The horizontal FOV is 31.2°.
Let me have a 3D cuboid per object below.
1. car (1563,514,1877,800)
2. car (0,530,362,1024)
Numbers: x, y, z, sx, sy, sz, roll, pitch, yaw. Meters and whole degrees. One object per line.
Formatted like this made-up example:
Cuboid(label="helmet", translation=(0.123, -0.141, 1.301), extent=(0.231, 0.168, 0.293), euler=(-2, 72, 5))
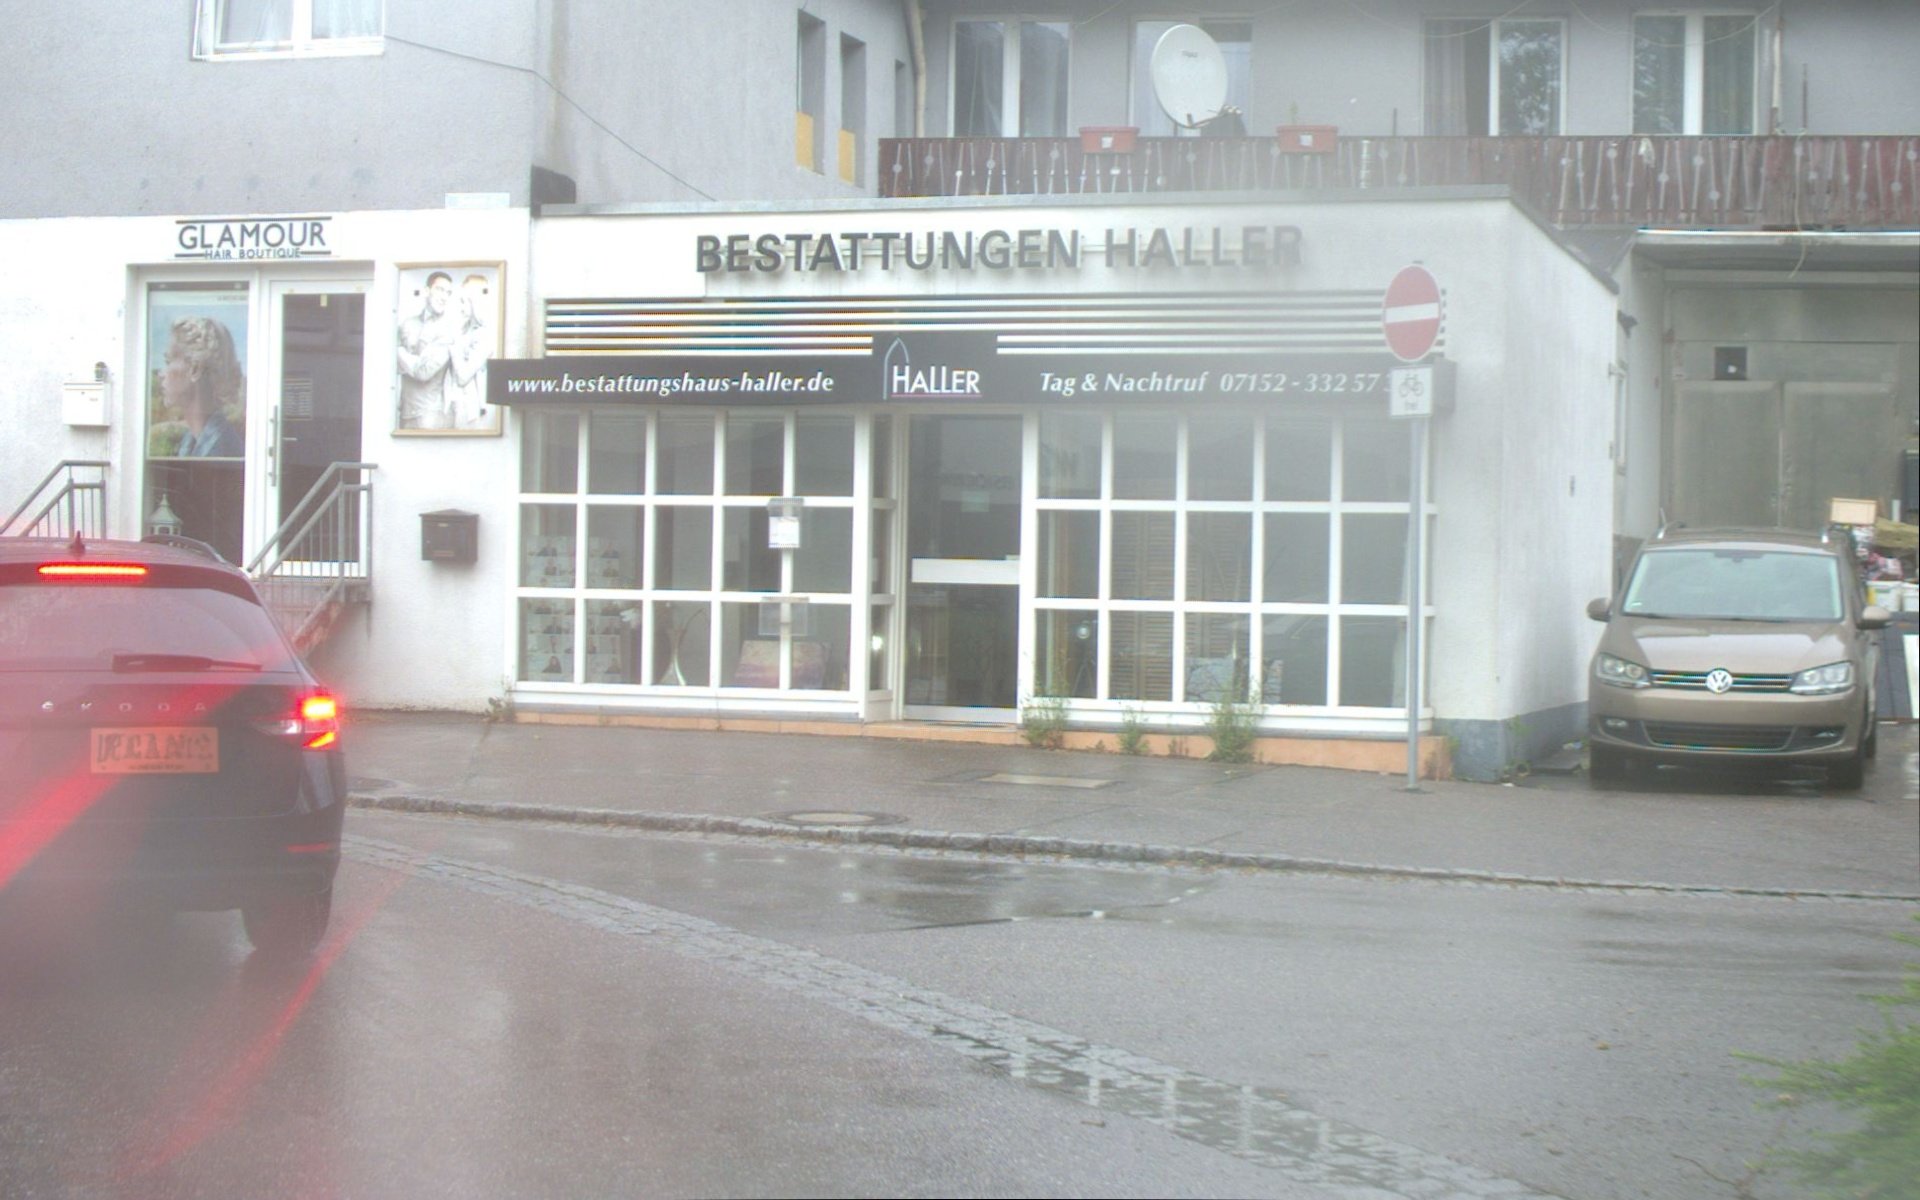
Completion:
Cuboid(label="car", translation=(5.391, 0.299, 24.218), extent=(1.925, 1.722, 4.666), euler=(1, 2, 14))
Cuboid(label="car", translation=(-3.606, 0.512, 12.799), extent=(1.732, 1.445, 4.243), euler=(0, 2, -24))
